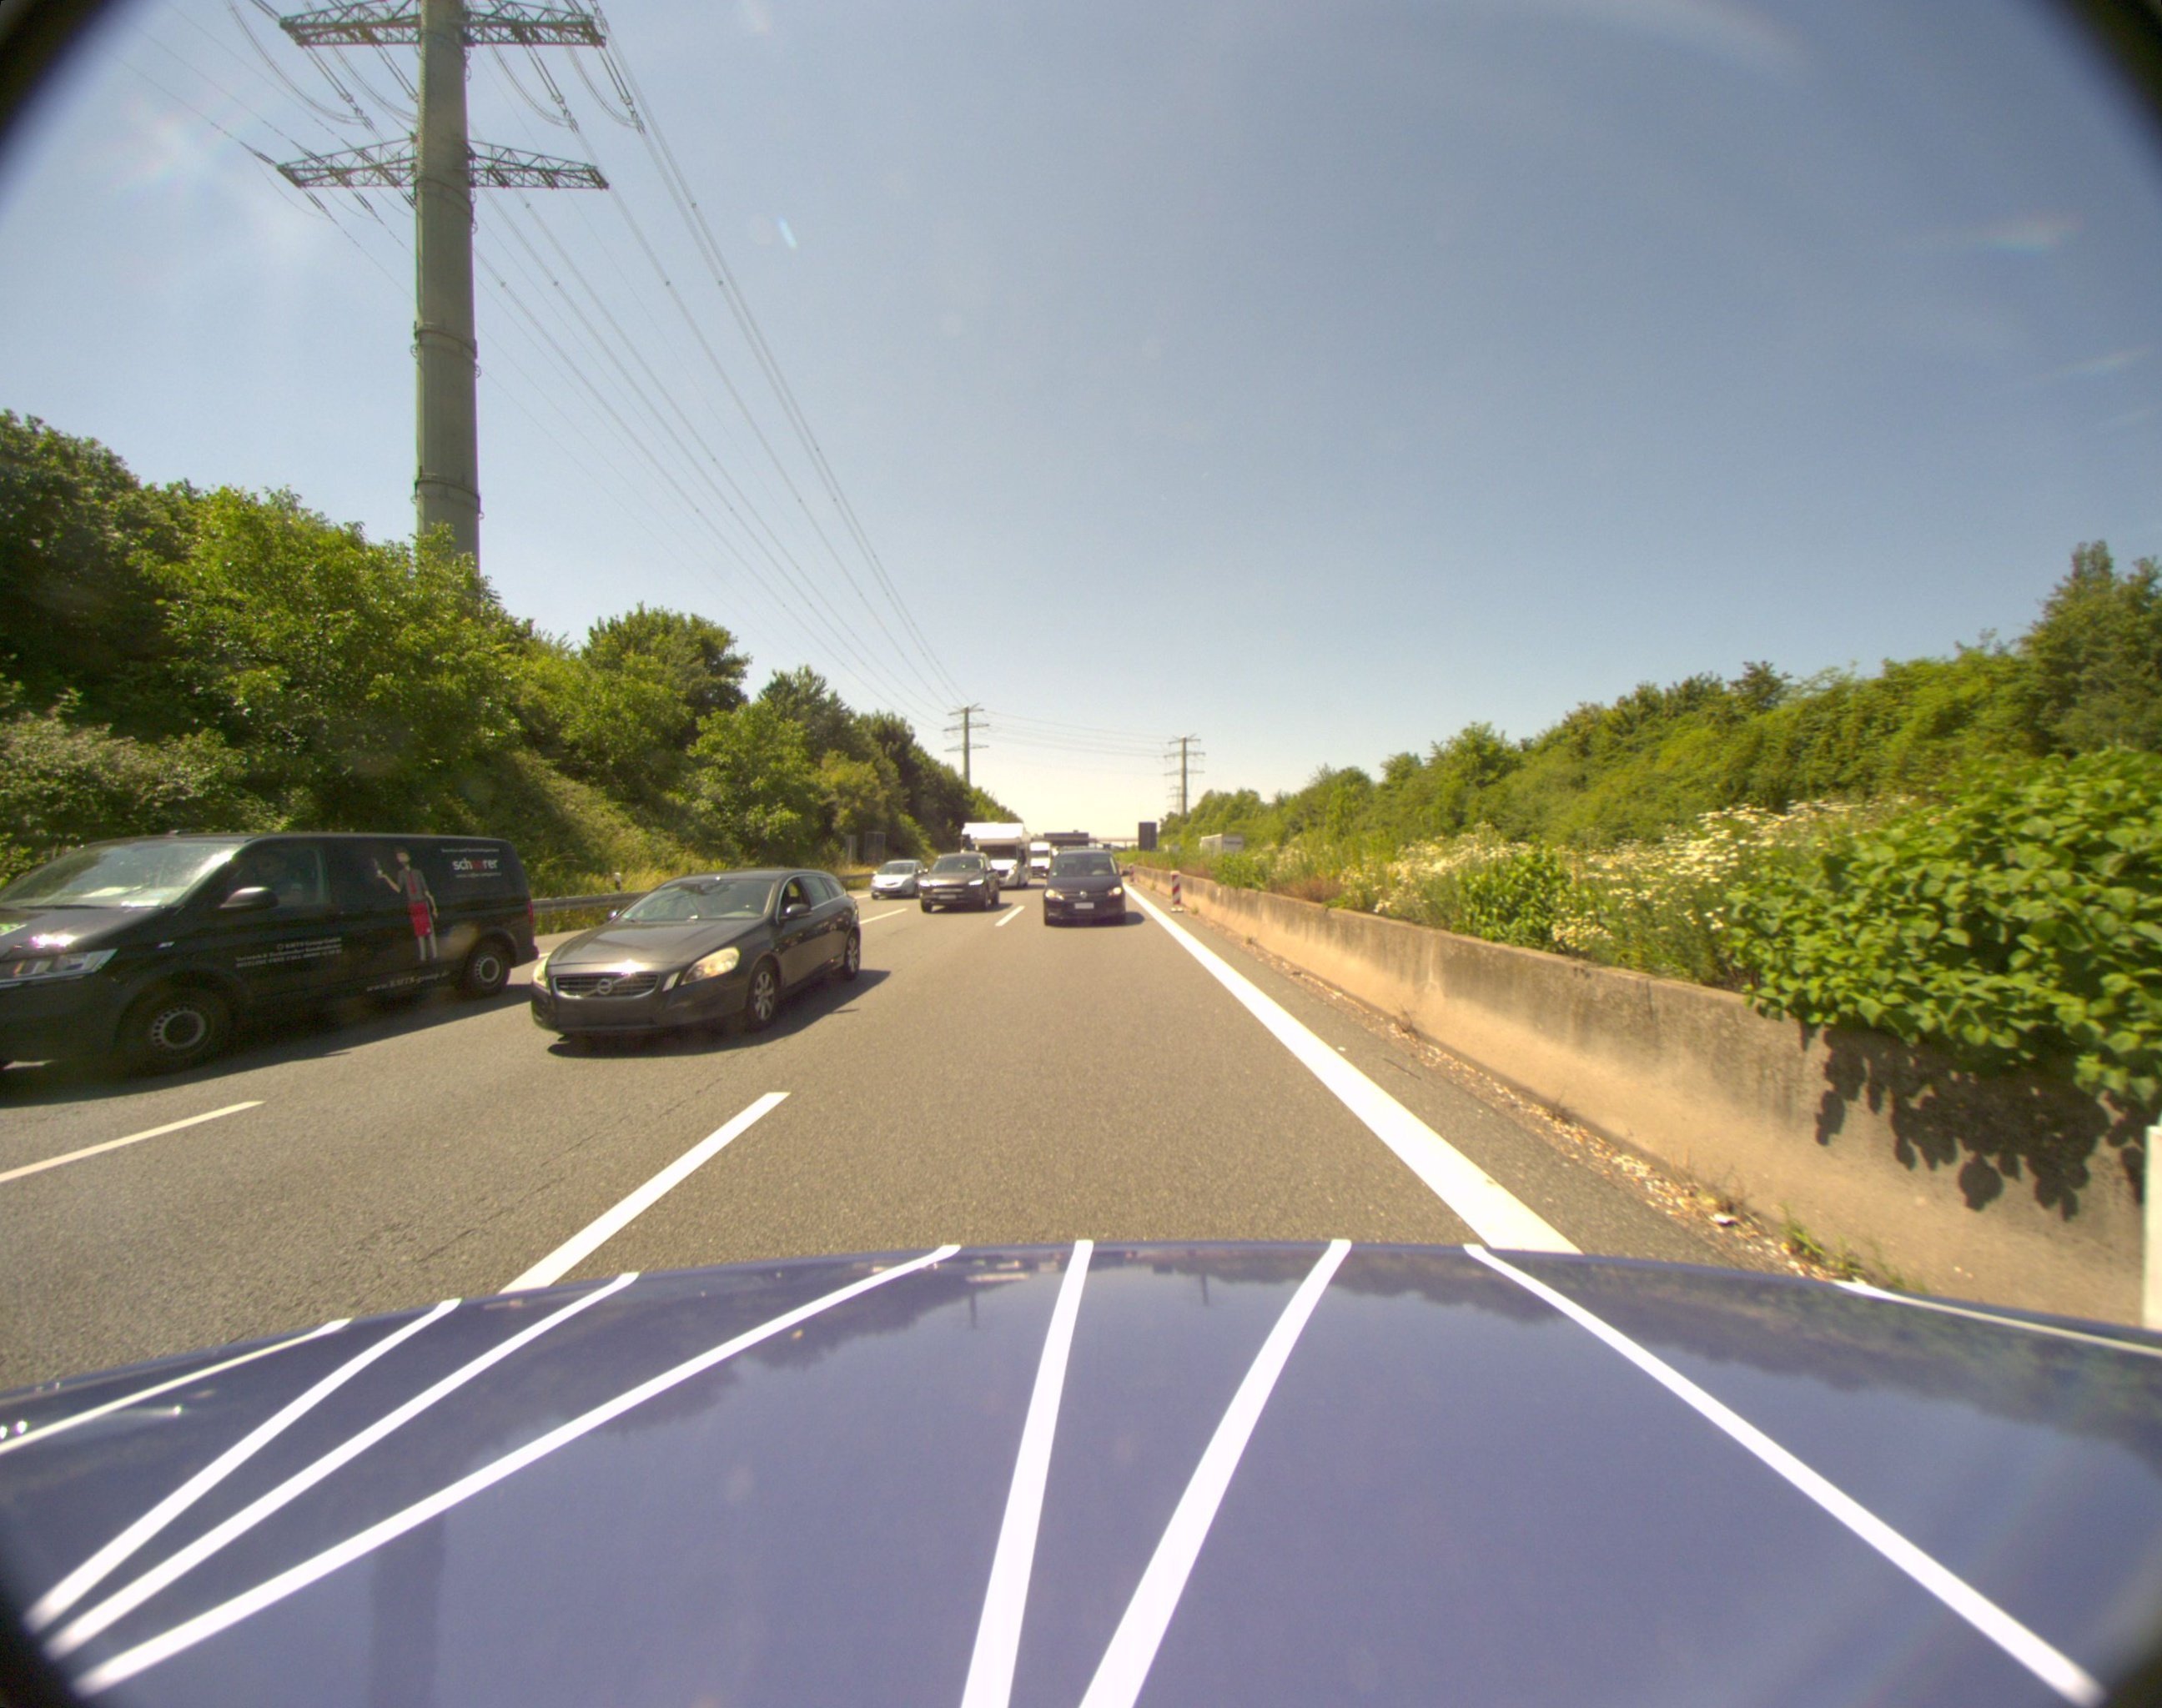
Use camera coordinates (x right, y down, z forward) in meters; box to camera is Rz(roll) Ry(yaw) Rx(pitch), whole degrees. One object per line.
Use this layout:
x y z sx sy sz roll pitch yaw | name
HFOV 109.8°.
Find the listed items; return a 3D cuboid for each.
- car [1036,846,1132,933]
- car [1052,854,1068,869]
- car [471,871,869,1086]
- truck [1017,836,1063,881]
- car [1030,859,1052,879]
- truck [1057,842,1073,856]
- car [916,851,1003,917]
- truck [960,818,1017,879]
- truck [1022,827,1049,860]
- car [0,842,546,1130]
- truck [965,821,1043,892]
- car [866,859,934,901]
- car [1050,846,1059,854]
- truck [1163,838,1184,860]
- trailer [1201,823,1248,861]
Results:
0.030 0.708 17.560 1.892 1.693 4.382 -2 1 -1 | car
-2.572 0.870 94.552 1.892 1.693 4.382 -2 1 -1 | car
-3.692 0.990 7.863 1.800 1.429 4.230 -2 1 -1 | car
-2.948 0.255 57.109 2.514 2.997 9.897 -2 1 2 | truck
-3.746 1.382 72.277 1.892 1.693 4.382 -2 1 -1 | car
-2.727 -0.873 130.641 2.408 2.203 6.744 -2 1 2 | truck
-3.502 0.800 22.648 1.892 1.693 4.382 -2 1 -1 | car
-6.880 -0.411 58.535 2.655 4.128 11.660 -2 1 1 | truck
-5.958 -1.394 101.540 2.655 4.128 11.660 -2 1 1 | truck
-7.762 0.878 7.333 1.788 1.893 4.697 -2 1 0 | car
-3.620 0.053 38.171 2.514 2.997 9.897 -2 1 2 | truck
-7.067 0.980 30.056 1.800 1.429 3.730 -2 1 -1 | car
-6.743 -0.938 194.219 1.998 2.002 4.000 -2 1 1 | car
17.058 -0.988 140.336 2.769 3.866 9.028 2 1 0 | truck
17.058 -1.404 91.337 3.024 4.143 14.019 2 1 1 | trailer
